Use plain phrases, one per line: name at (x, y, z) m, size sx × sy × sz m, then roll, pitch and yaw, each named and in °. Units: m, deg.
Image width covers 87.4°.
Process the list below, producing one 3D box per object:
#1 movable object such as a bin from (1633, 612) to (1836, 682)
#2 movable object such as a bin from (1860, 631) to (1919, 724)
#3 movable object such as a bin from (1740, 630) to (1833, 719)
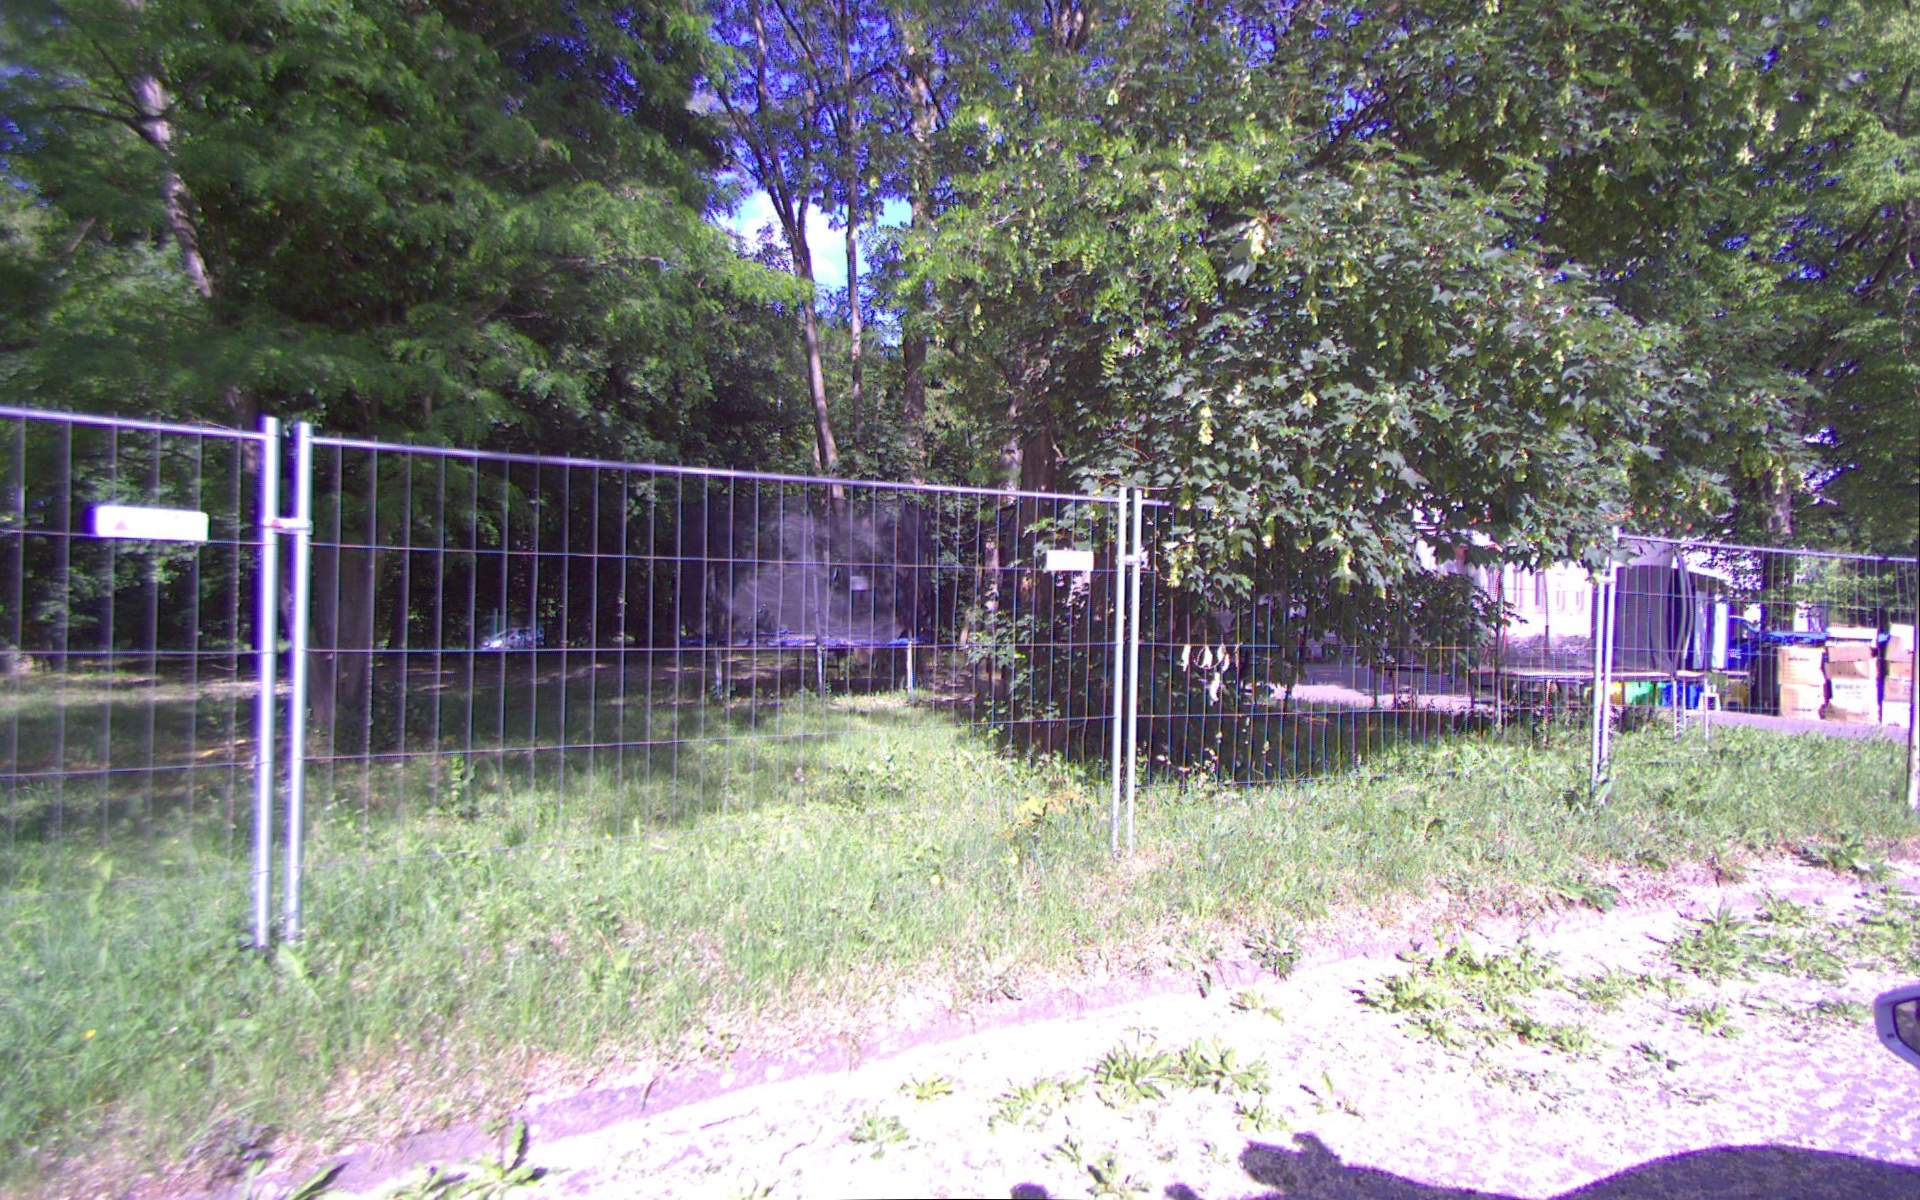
movable object such as a bin at (24.257, 1.418, 31.597) m, size 1.919 × 1.996 × 4.825 m, roll 2°, pitch -2°, yaw -43°
movable object such as a bin at (15.423, 1.240, 16.211) m, size 1.025 × 1.445 × 1.275 m, roll 2°, pitch -1°, yaw -44°
movable object such as a bin at (14.301, 1.259, 17.387) m, size 1.047 × 1.457 × 1.075 m, roll 2°, pitch -1°, yaw -39°
